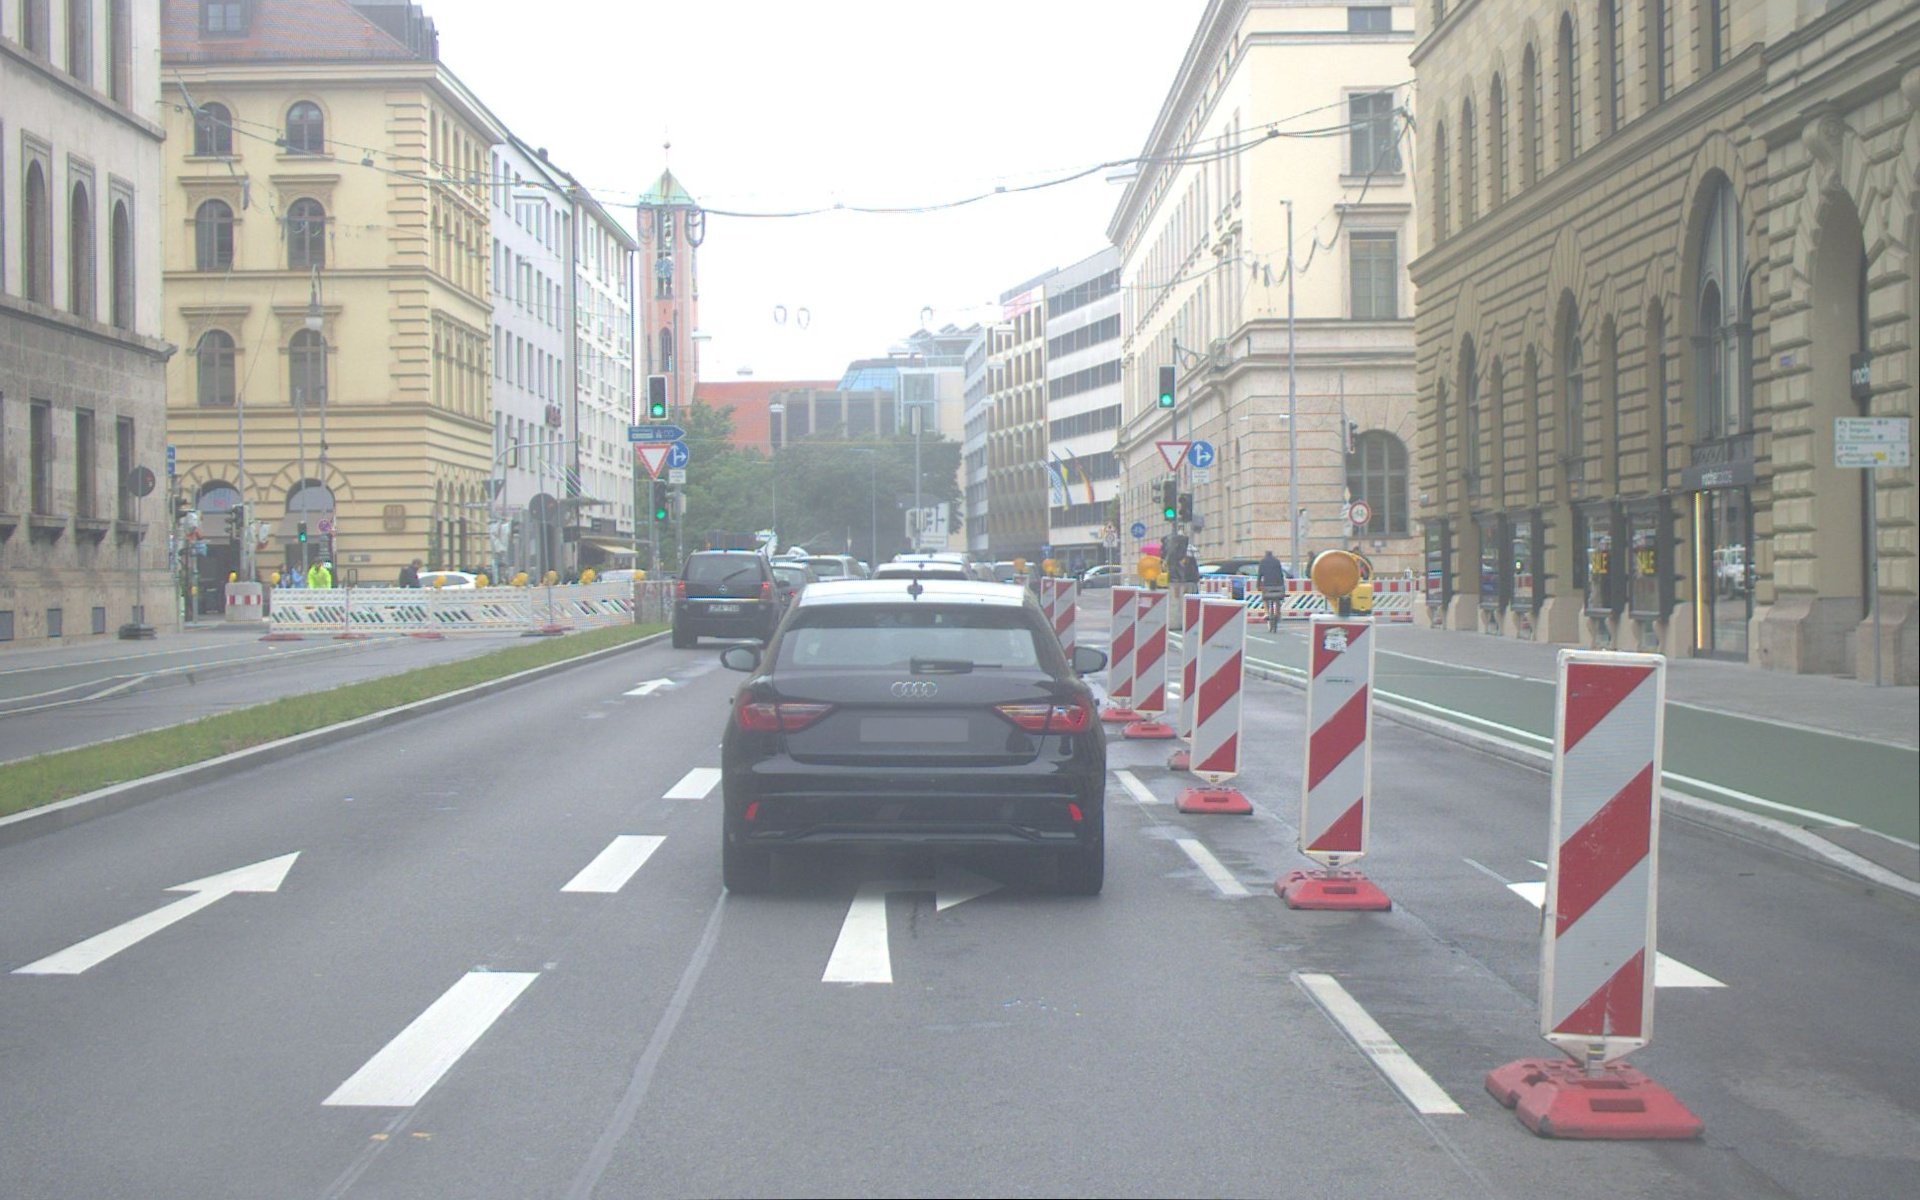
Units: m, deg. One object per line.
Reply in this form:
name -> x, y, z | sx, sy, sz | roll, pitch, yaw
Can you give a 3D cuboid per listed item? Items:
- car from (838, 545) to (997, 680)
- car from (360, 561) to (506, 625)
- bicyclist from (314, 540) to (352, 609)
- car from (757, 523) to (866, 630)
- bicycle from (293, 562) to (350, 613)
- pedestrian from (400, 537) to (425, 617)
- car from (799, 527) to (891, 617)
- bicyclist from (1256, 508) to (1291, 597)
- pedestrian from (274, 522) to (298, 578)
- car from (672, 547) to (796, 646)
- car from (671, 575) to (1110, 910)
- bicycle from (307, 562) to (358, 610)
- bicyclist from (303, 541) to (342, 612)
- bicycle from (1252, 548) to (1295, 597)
car -> -0.582, 0.115, 43.420 | 1.768, 1.611, 4.001 | 1, 1, -4
car -> -15.319, -0.227, 99.908 | 3.741, 1.792, 1.868 | -1, 1, -36
bicyclist -> -16.364, -0.666, 89.737 | 0.798, 1.770, 0.689 | 1, 1, 4
car -> -2.861, -0.475, 66.954 | 1.993, 2.007, 4.000 | 0, 1, -1
bicycle -> -15.766, -0.314, 84.875 | 0.787, 1.238, 2.448 | 1, 1, 4
pedestrian -> -11.962, -0.508, 75.153 | 0.512, 1.737, 1.043 | 0, 1, -10
car -> -2.663, -0.668, 80.458 | 1.993, 2.007, 4.000 | -1, 1, 0
bicyclist -> 6.534, -0.997, 71.696 | 0.566, 1.847, 0.799 | 1, 1, -5
pedestrian -> -21.379, -1.580, 109.105 | 0.733, 1.766, 0.739 | 0, 1, -10
car -> -3.743, -0.086, 57.526 | 1.865, 1.596, 3.851 | -1, 1, -1
car -> -0.319, 0.594, 16.652 | 1.863, 1.383, 4.000 | 0, 1, -1
bicycle -> -16.365, -0.371, 89.749 | 0.787, 1.238, 2.199 | 1, 1, 4
bicyclist -> -15.755, -0.574, 84.932 | 0.798, 1.742, 0.689 | 1, 1, 4
bicycle -> 6.530, -0.574, 71.717 | 0.584, 1.008, 1.657 | 1, 1, -6
